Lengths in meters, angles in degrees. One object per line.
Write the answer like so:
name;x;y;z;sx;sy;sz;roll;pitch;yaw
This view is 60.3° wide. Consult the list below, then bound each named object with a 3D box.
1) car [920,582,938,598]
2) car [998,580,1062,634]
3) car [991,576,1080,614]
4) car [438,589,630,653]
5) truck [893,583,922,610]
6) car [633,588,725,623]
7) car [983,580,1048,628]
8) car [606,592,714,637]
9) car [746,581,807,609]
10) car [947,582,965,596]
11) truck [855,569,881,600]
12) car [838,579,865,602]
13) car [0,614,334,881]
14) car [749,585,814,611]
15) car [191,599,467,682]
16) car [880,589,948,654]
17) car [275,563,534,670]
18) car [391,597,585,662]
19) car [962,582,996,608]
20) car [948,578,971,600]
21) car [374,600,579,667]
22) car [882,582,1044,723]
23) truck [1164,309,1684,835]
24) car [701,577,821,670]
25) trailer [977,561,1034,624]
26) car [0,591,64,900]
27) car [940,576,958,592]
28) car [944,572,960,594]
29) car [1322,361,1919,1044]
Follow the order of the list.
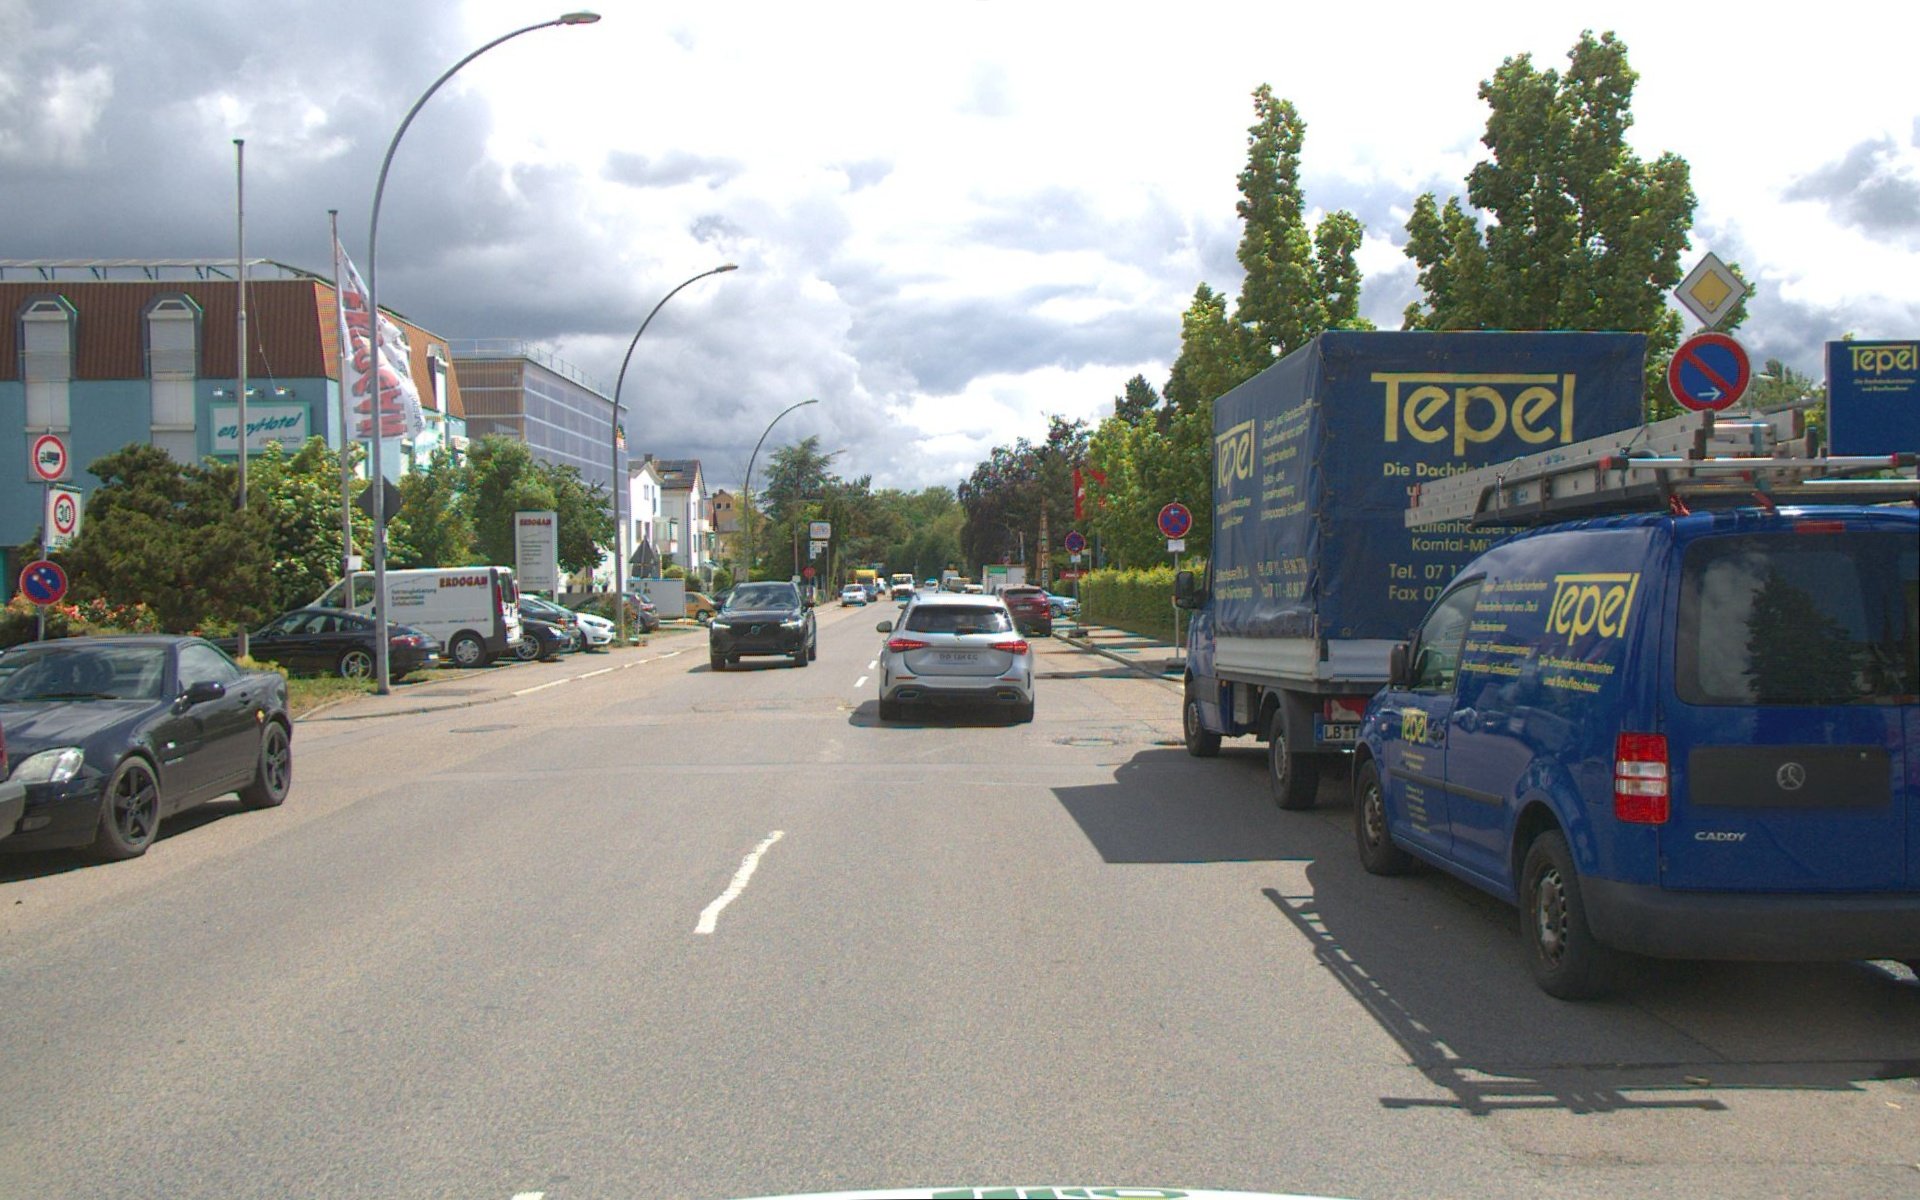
car;-3.156;-1.007;168.942;1.720;1.585;3.999;-1;1;-2
car;2.220;0.184;53.358;1.901;1.598;4.446;-1;1;1
car;3.510;-0.248;76.535;3.902;1.623;2.002;2;1;9
car;-10.560;0.516;41.242;4.286;1.504;1.871;-1;-1;-1
truck;-4.618;-0.365;146.101;2.271;2.216;6.450;-2;1;1
car;-13.116;0.251;77.331;4.069;1.518;1.824;1;1;-5
car;1.931;0.121;58.907;1.903;1.598;4.443;-1;1;-3
car;-10.988;0.521;60.785;3.553;1.559;1.980;-1;1;1
car;-13.136;-0.347;118.375;4.193;1.868;1.990;-1;-3;-2
car;-0.435;-1.145;178.000;1.749;1.510;4.314;0;0;-3
truck;-8.715;-1.521;157.555;2.032;2.863;7.078;-2;1;0
car;-8.095;-0.710;123.656;1.755;1.631;4.362;-2;1;-1
car;-5.710;0.862;11.067;1.598;1.326;4.114;-4;1;-3
car;-12.145;-0.114;112.891;4.192;1.594;1.990;-1;-3;-1
car;-10.541;0.668;27.846;3.907;1.225;1.871;1;1;-3
car;-1.229;0.534;44.273;1.720;1.585;3.999;-1;1;-2
car;-11.185;0.303;33.596;4.560;2.006;2.113;-1;1;-5
car;-10.849;0.657;38.191;3.904;1.379;1.872;-1;1;1
car;1.142;-0.317;100.586;1.756;1.475;4.360;-2;1;-3
car;-0.086;-1.071;159.383;2.100;2.018;5.260;-1;1;-1
car;-10.458;0.704;35.982;3.907;1.337;1.870;-1;0;-3
car;-0.063;0.548;20.219;1.749;1.510;4.314;0;1;-3
truck;3.193;-0.213;13.068;2.273;3.151;6.041;1;1;-1
car;-3.921;0.412;33.195;1.953;1.644;4.410;-2;1;-2
trailer;1.741;-0.322;64.613;1.903;2.334;4.443;-1;1;-2
car;-5.486;0.801;6.279;1.709;1.497;4.642;-4;1;-2
car;-1.215;-1.815;184.545;1.749;1.745;4.314;0;0;-3
car;-0.972;-2.039;196.820;1.749;2.562;4.314;0;0;-3
car;3.120;0.309;7.620;1.835;2.206;4.464;1;1;-1
